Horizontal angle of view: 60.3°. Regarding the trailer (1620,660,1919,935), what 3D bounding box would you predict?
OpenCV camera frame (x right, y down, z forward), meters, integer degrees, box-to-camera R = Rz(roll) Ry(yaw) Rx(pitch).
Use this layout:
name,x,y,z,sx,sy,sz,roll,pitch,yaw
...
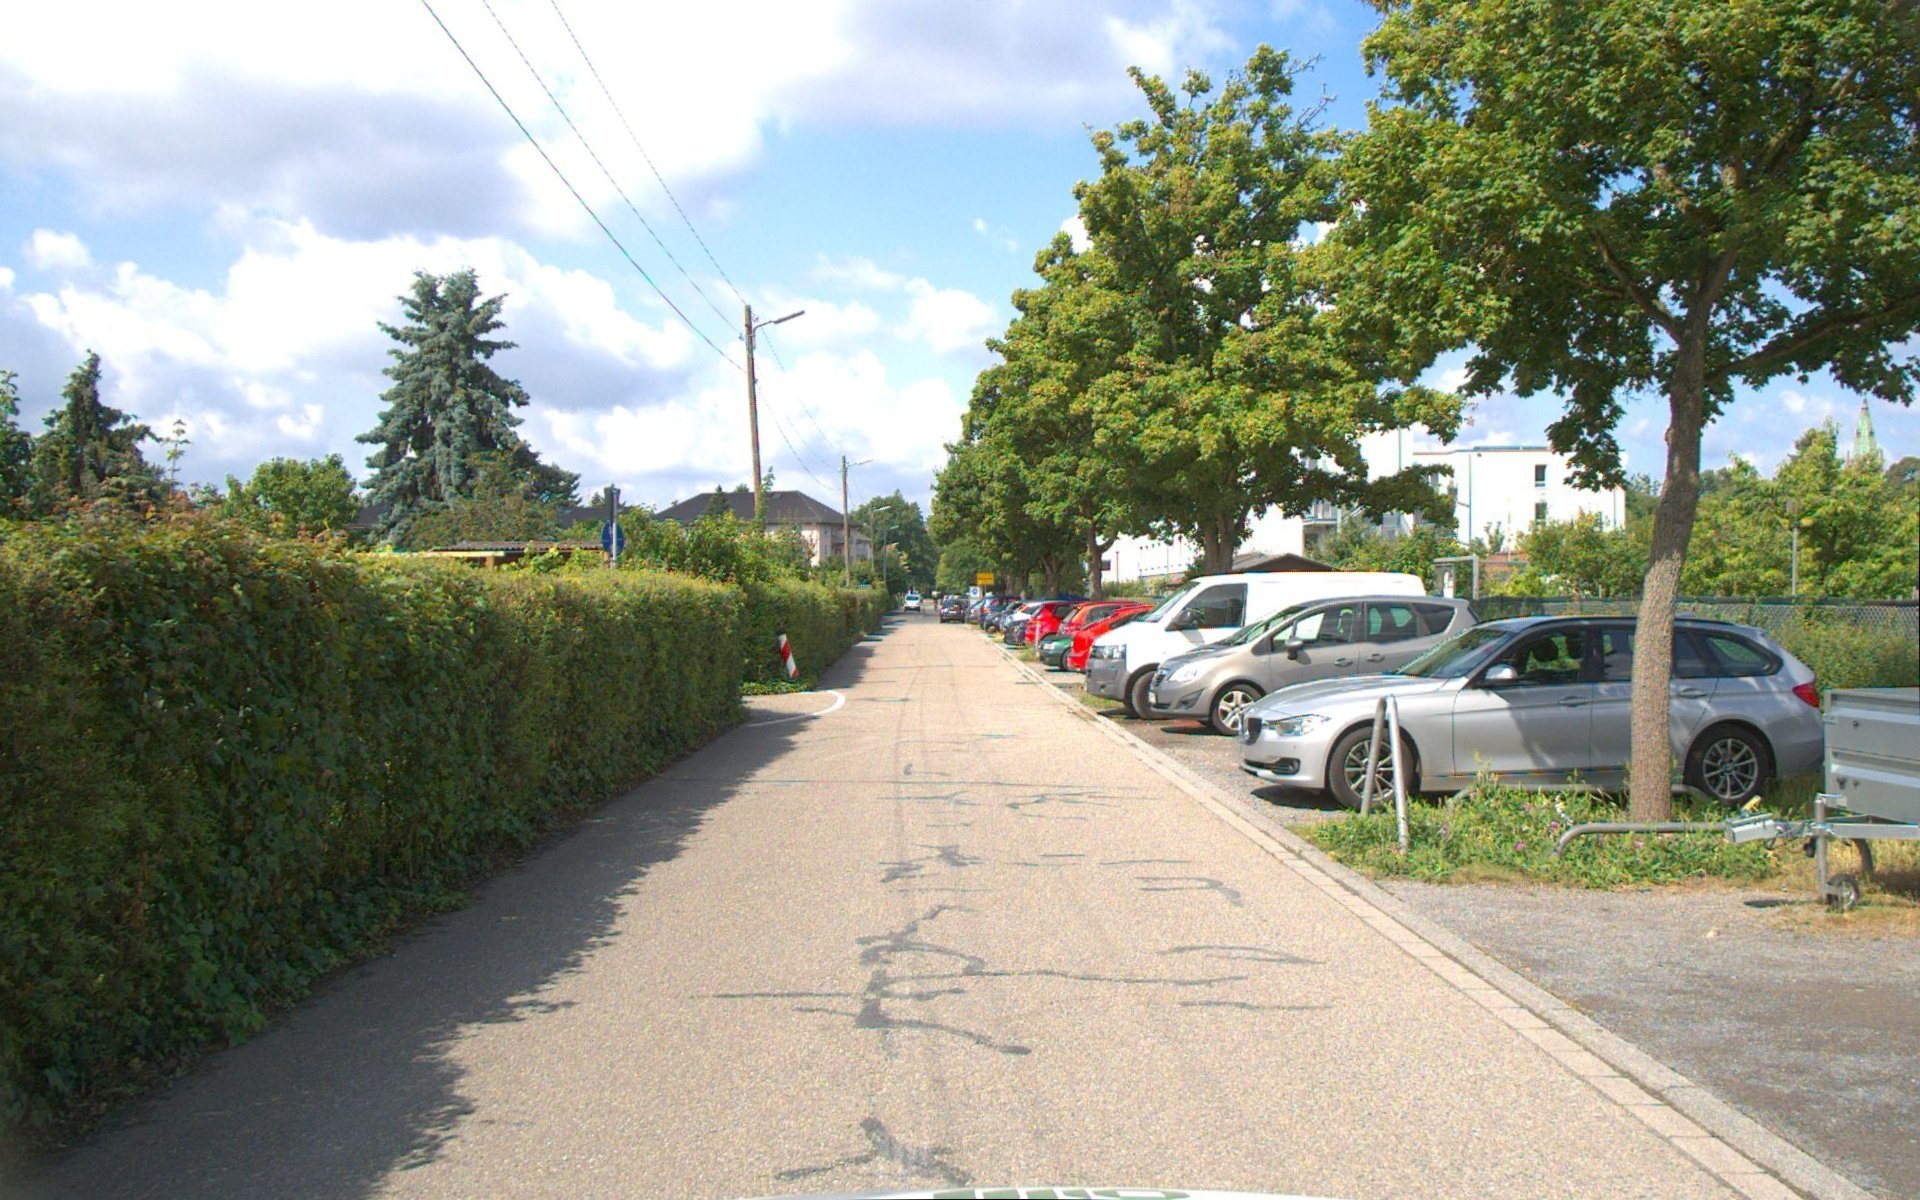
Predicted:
name,x,y,z,sx,sy,sz,roll,pitch,yaw
trailer,5.297,0.946,8.460,3.037,1.162,1.999,1,0,-1

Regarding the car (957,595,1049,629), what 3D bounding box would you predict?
name,x,y,z,sx,sy,sz,roll,pitch,yaw
car,2.120,0.608,82.405,4.457,1.606,1.808,1,0,-3

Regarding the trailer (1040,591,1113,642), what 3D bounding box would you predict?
name,x,y,z,sx,sy,sz,roll,pitch,yaw
trailer,4.186,0.577,59.752,2.402,1.750,1.517,1,1,-5

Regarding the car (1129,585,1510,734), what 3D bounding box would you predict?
name,x,y,z,sx,sy,sz,roll,pitch,yaw
car,4.267,0.684,20.125,4.157,1.620,2.000,-1,0,-1

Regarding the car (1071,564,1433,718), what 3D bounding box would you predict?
name,x,y,z,sx,sy,sz,roll,pitch,yaw
car,3.938,0.531,22.862,4.542,1.919,2.110,-1,0,-3

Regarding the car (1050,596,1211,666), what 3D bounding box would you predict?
name,x,y,z,sx,sy,sz,roll,pitch,yaw
car,4.134,0.739,40.464,3.688,1.601,1.869,1,0,-2

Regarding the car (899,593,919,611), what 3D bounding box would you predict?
name,x,y,z,sx,sy,sz,roll,pitch,yaw
car,-5.382,0.214,175.617,1.863,1.846,4.000,1,0,1

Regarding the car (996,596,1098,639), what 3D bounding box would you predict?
name,x,y,z,sx,sy,sz,roll,pitch,yaw
car,3.262,0.656,62.615,3.650,1.567,1.848,1,0,-5

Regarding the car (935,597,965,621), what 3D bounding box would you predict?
name,x,y,z,sx,sy,sz,roll,pitch,yaw
car,-0.637,0.591,107.149,1.628,1.532,4.002,1,0,4

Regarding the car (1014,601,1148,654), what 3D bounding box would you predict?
name,x,y,z,sx,sy,sz,roll,pitch,yaw
car,3.528,0.796,48.764,3.829,1.448,1.958,1,0,1

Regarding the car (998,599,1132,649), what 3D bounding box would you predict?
name,x,y,z,sx,sy,sz,roll,pitch,yaw
car,3.257,0.739,51.926,3.985,1.481,1.868,1,0,-4

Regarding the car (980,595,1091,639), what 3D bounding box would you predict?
name,x,y,z,sx,sy,sz,roll,pitch,yaw
car,2.956,0.674,65.191,4.215,1.622,1.999,1,0,-2

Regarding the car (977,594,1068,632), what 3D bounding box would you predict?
name,x,y,z,sx,sy,sz,roll,pitch,yaw
car,2.839,0.608,75.783,4.070,1.666,1.878,-1,0,-1

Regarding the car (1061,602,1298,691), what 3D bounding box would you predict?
name,x,y,z,sx,sy,sz,roll,pitch,yaw
car,3.987,0.837,30.512,4.098,1.530,1.878,1,0,0

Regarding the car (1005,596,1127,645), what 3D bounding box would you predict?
name,x,y,z,sx,sy,sz,roll,pitch,yaw
car,3.529,0.685,55.539,3.980,1.538,1.958,1,0,1

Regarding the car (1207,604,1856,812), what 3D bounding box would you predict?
name,x,y,z,sx,sy,sz,roll,pitch,yaw
car,4.393,0.783,13.171,4.488,1.491,1.998,0,0,-5

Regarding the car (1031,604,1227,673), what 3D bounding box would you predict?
name,x,y,z,sx,sy,sz,roll,pitch,yaw
car,3.813,0.862,37.731,4.156,1.453,1.906,1,0,-5

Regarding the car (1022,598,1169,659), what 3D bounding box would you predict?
name,x,y,z,sx,sy,sz,roll,pitch,yaw
car,3.660,0.772,45.253,3.904,1.546,1.855,1,0,2

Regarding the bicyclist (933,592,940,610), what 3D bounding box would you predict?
name,x,y,z,sx,sy,sz,roll,pitch,yaw
bicyclist,-2.592,0.129,180.958,0.645,1.884,1.043,-2,0,1
